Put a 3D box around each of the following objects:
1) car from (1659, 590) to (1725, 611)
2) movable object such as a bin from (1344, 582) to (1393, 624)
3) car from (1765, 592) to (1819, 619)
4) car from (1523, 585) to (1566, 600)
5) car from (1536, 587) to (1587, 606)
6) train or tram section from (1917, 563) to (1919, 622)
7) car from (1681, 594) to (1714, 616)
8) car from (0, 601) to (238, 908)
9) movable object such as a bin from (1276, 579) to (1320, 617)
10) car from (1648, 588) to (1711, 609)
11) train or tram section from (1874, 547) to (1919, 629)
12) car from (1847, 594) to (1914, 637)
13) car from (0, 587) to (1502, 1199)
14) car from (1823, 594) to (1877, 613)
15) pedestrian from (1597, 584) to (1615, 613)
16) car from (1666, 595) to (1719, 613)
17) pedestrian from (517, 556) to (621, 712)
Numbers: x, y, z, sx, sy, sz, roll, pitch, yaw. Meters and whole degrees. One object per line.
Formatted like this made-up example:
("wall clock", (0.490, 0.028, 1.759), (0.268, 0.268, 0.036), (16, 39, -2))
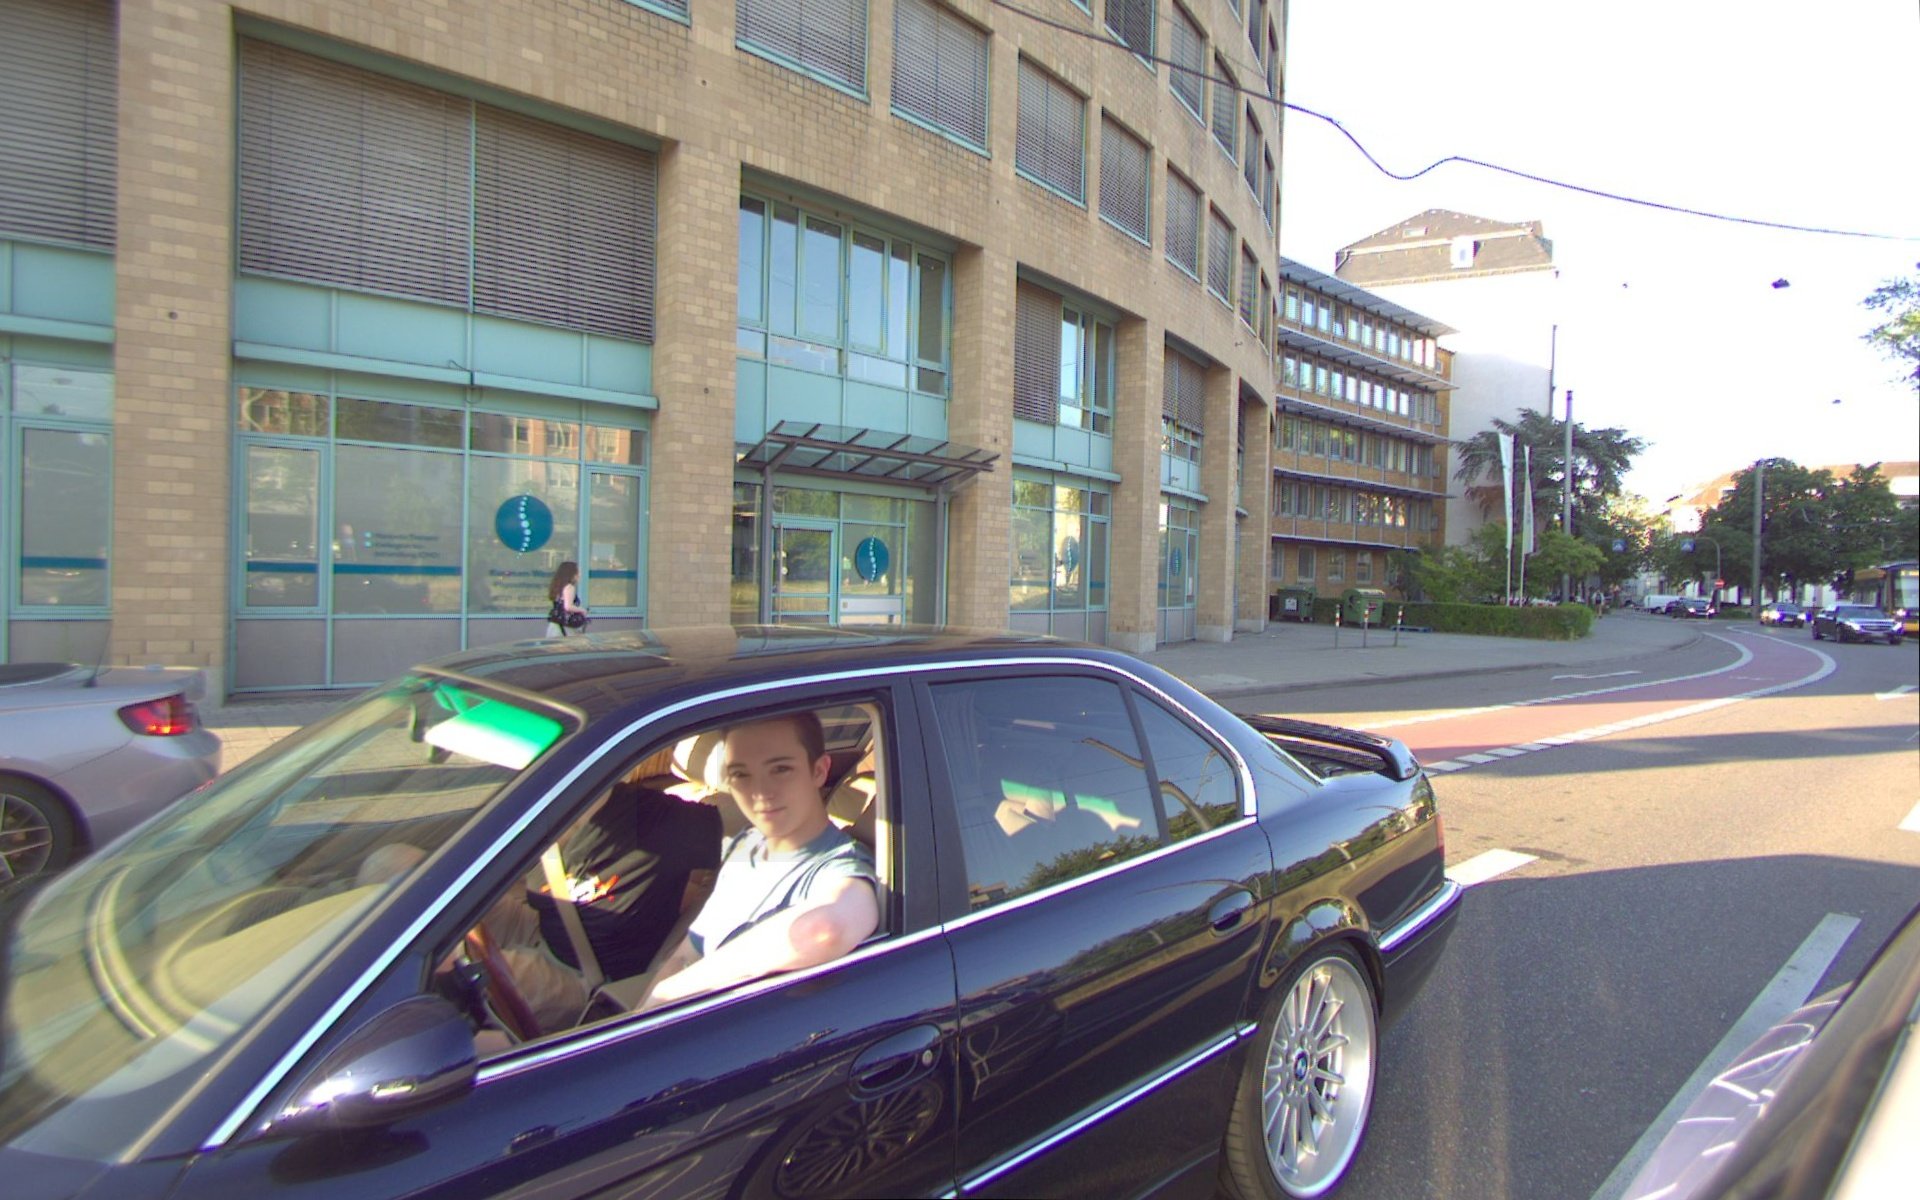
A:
("car", (75.773, -0.002, 104.800), (2.083, 1.926, 5.078), (2, 1, -39))
("movable object such as a bin", (14.858, 0.107, 36.832), (1.317, 1.455, 0.976), (2, 0, -22))
("car", (50.102, 0.352, 61.020), (1.806, 1.501, 4.091), (3, 1, 30))
("car", (71.902, -0.887, 124.610), (4.356, 1.633, 1.713), (3, 1, 27))
("car", (56.834, -0.333, 95.682), (4.035, 1.589, 1.818), (3, 1, 30))
("train or tram section", (57.238, -0.372, 57.128), (12.623, 3.180, 2.930), (0, 1, -39))
("car", (55.038, 0.370, 75.564), (1.809, 1.501, 4.084), (2, 0, 34))
("car", (-5.883, 0.689, 4.495), (4.192, 1.371, 1.786), (1, 0, -41))
("movable object such as a bin", (13.166, -0.079, 39.434), (1.340, 1.442, 0.910), (3, 1, 42))
("car", (76.684, -0.170, 107.888), (1.932, 2.047, 5.078), (2, 1, -39))
("train or tram section", (47.241, -0.534, 48.678), (13.128, 3.629, 2.947), (0, 1, -40))
("car", (35.829, 0.597, 39.428), (1.815, 1.501, 4.072), (3, 1, 42))
("car", (-0.688, 0.689, 2.193), (4.560, 1.371, 1.833), (1, 0, -42))
("car", (92.336, 0.381, 104.970), (1.672, 1.746, 4.007), (2, 1, -42))
("pedestrian", (41.139, -0.077, 64.445), (0.805, 1.814, 0.593), (2, 0, -30))
("car", (73.144, 0.355, 101.031), (4.055, 1.571, 1.969), (3, 1, 43))
("pedestrian", (-4.178, 0.343, 10.807), (0.786, 1.589, 0.677), (2, 0, -43))
